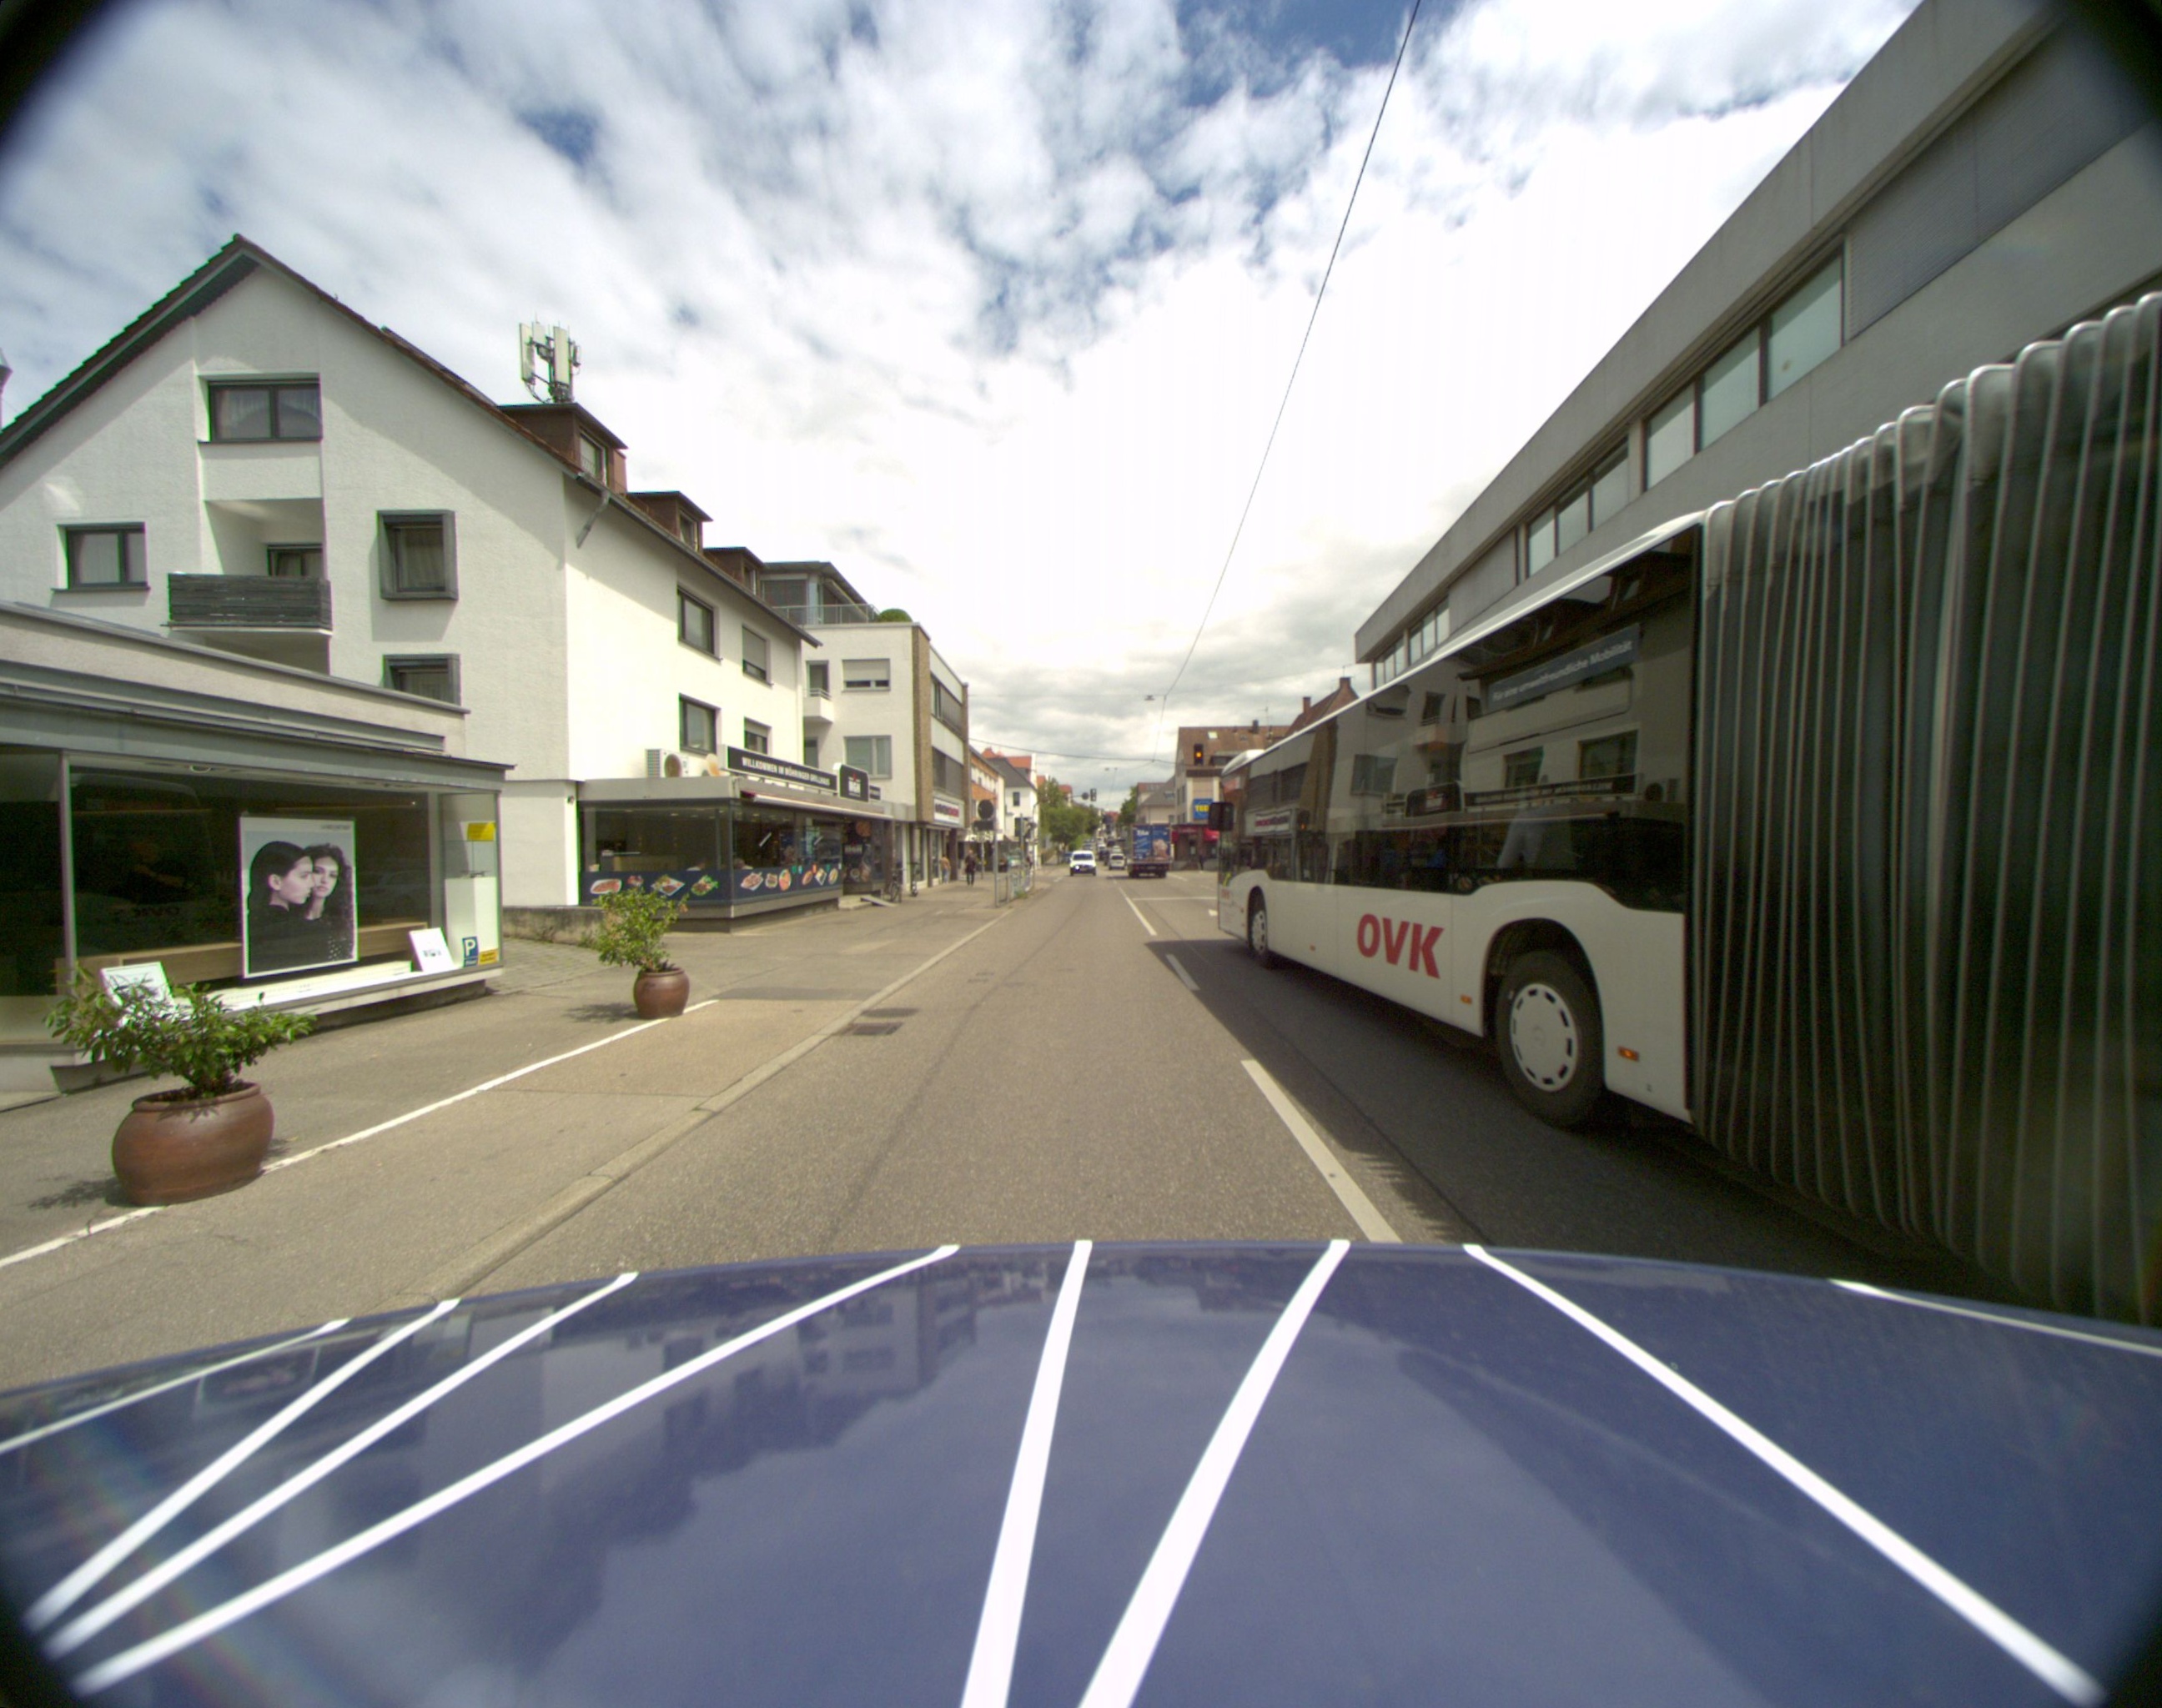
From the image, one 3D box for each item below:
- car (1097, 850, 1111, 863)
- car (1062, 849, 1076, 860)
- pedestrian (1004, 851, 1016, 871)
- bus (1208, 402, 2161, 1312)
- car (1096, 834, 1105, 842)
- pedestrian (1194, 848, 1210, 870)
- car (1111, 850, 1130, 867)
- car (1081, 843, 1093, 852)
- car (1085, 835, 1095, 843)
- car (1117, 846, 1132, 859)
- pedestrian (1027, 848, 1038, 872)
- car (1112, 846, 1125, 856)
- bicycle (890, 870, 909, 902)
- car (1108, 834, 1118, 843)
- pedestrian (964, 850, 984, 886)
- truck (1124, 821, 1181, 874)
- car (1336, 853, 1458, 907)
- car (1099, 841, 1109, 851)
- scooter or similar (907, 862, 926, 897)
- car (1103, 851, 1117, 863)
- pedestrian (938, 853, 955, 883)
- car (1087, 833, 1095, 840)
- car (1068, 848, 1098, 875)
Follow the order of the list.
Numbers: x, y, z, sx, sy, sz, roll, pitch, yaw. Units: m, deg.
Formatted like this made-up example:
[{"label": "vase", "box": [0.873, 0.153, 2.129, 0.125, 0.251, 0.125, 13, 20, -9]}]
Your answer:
[{"label": "car", "box": [3.646, 0.364, 121.385, 1.953, 1.866, 4.875, -1, 1, 0]}, {"label": "car", "box": [-1.731, 0.083, 112.336, 1.998, 1.654, 4.000, 0, 0, 1]}, {"label": "pedestrian", "box": [-5.474, 0.546, 58.446, 0.779, 1.517, 0.819, 0, 1, 3]}, {"label": "bus", "box": [3.632, -0.018, 7.756, 2.689, 3.145, 10.182, -1, 0, -2]}, {"label": "car", "box": [4.776, -3.875, 183.325, 1.982, 1.985, 5.027, 0, 0, -1]}, {"label": "pedestrian", "box": [9.549, 0.355, 59.727, 0.908, 1.713, 0.849, -1, 1, -40]}, {"label": "car", "box": [4.455, 0.481, 86.381, 1.950, 1.810, 4.278, 0, 0, 1]}, {"label": "car", "box": [1.102, -1.196, 136.474, 1.998, 1.654, 4.000, 0, 0, 1]}, {"label": "car", "box": [2.134, -3.424, 174.383, 2.149, 1.747, 3.973, 0, 0, 1]}, {"label": "car", "box": [6.963, -0.281, 122.287, 2.110, 2.109, 4.765, -1, 0, 1]}, {"label": "pedestrian", "box": [-3.777, 0.439, 59.224, 0.581, 1.820, 0.882, 1, 1, 17]}, {"label": "car", "box": [6.983, -0.627, 141.430, 2.110, 1.778, 4.529, -1, 0, 1]}, {"label": "bicycle", "box": [-6.163, 1.072, 25.817, 0.476, 1.022, 1.635, 0, 0, -8]}, {"label": "car", "box": [7.358, -3.526, 173.456, 2.110, 2.109, 4.765, -1, 0, 1]}, {"label": "pedestrian", "box": [-5.027, 0.662, 35.704, 0.797, 1.661, 0.807, 0, 1, 1]}, {"label": "truck", "box": [4.373, -0.397, 47.987, 2.860, 3.075, 8.088, -1, 0, 1]}, {"label": "car", "box": [9.581, 0.723, 23.545, 2.049, 1.436, 4.953, -2, 0, 5]}, {"label": "car", "box": [4.334, -1.470, 140.684, 1.819, 1.919, 4.112, 0, 0, 1]}, {"label": "scooter or similar", "box": [-6.170, 0.931, 28.533, 0.690, 1.260, 1.184, 0, 1, -11]}, {"label": "car", "box": [3.935, 0.380, 103.210, 1.681, 1.626, 2.833, 0, 0, -1]}, {"label": "pedestrian", "box": [-6.661, 0.695, 37.730, 0.681, 1.490, 0.720, 0, 1, 1]}, {"label": "car", "box": [2.762, -4.539, 202.083, 2.149, 1.747, 3.973, 0, 0, 1]}, {"label": "car", "box": [0.127, 0.494, 54.204, 1.999, 1.797, 4.764, -2, 0, -1]}]
